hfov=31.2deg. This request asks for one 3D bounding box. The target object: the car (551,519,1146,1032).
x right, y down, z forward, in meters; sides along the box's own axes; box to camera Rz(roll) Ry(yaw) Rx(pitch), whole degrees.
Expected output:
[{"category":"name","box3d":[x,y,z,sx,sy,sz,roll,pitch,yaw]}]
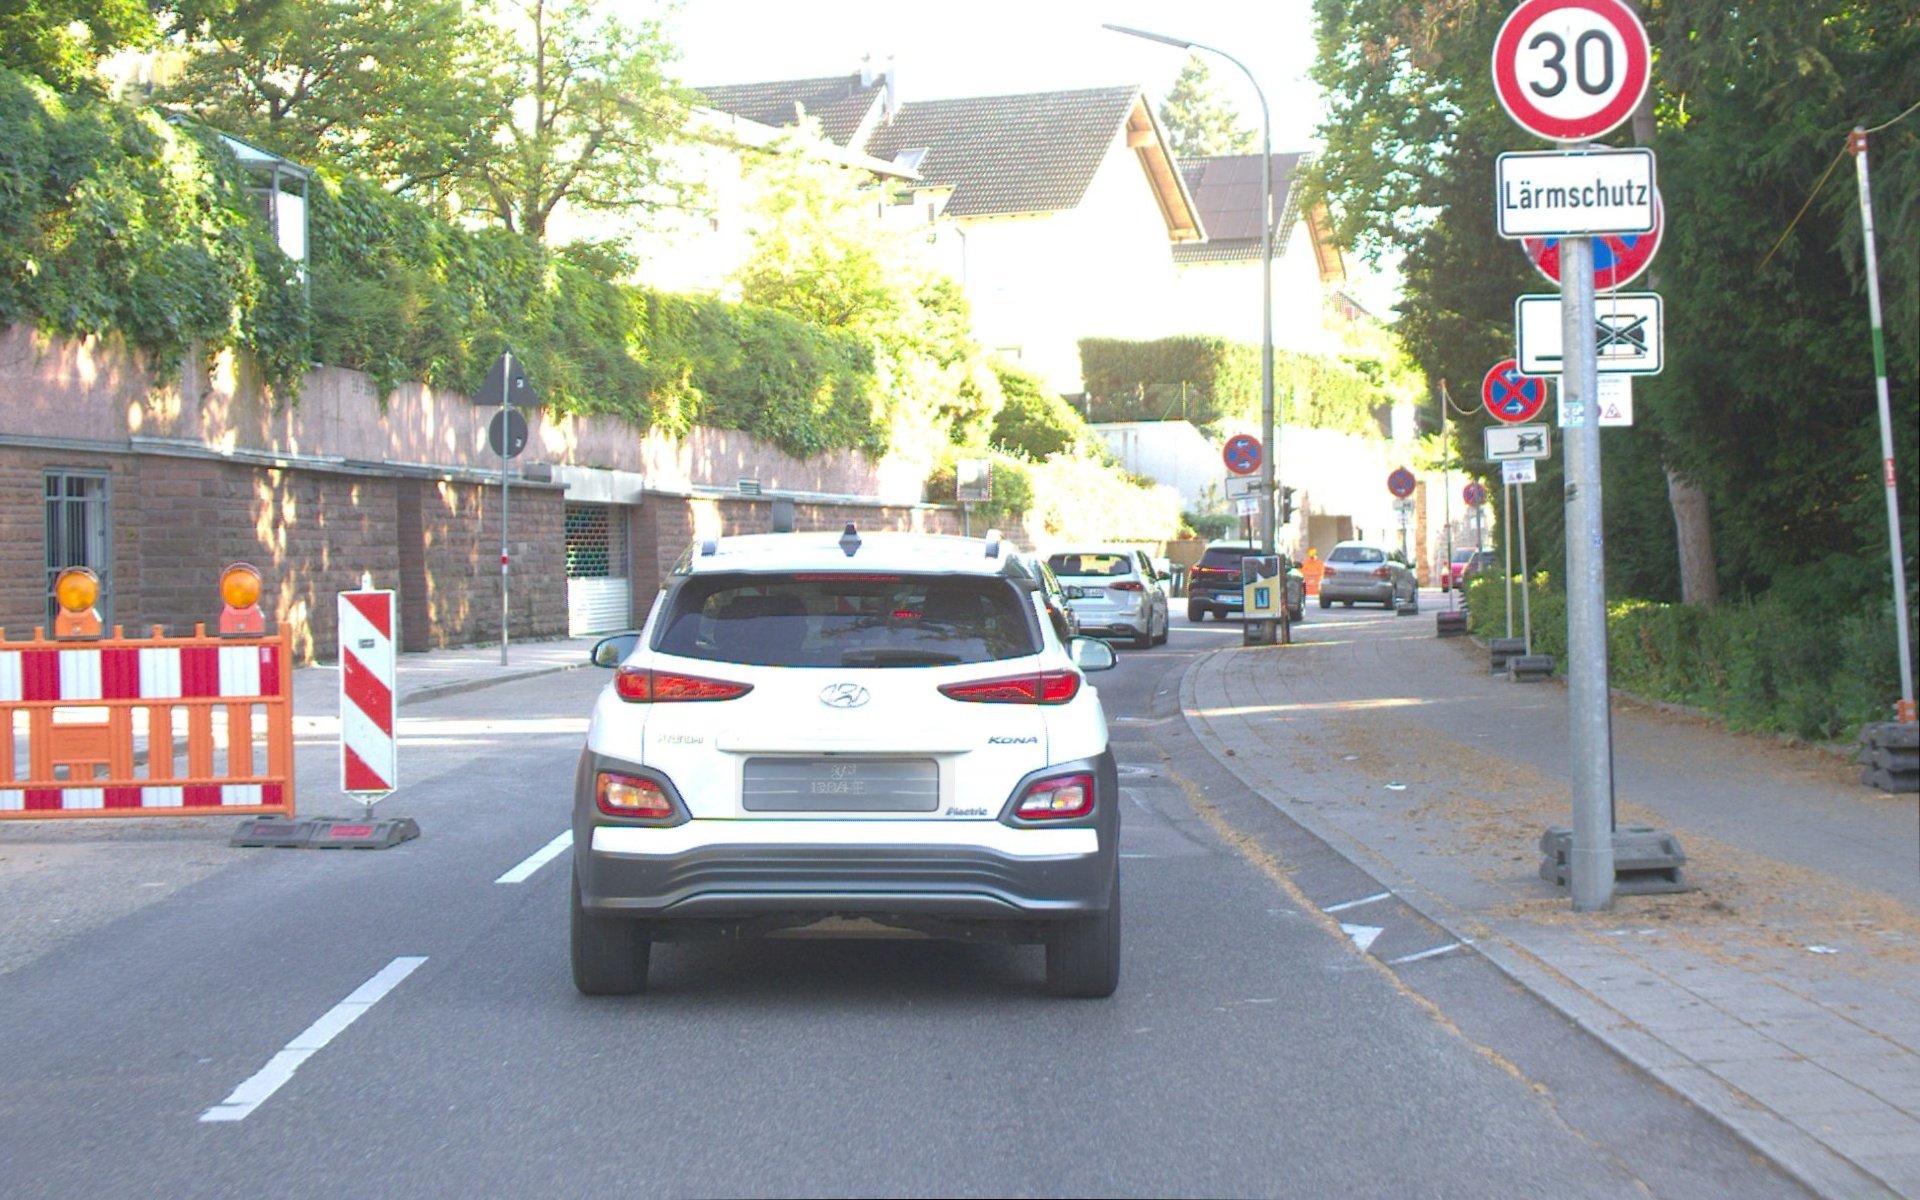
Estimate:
[{"category":"car","box3d":[-0.525,0.515,12.705,1.820,1.568,4.001,1,1,-5]}]

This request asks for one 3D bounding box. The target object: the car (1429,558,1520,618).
[{"category":"car","box3d":[14.805,-0.361,98.752,1.833,1.656,3.996,2,1,20]}]

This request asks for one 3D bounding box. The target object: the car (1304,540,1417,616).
[{"category":"car","box3d":[9.595,-0.535,82.176,1.833,1.735,3.996,-1,0,19]}]

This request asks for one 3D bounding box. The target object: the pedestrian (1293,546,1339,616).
[{"category":"pedestrian","box3d":[9.771,-0.519,94.359,1.080,1.905,0.840,1,1,16]}]

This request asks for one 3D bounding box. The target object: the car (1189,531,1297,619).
[{"category":"car","box3d":[5.657,-0.511,68.477,1.832,1.656,3.999,2,1,9]}]

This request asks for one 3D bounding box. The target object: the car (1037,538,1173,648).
[{"category":"car","box3d":[2.195,-0.133,51.172,1.806,1.532,3.999,2,1,5]}]

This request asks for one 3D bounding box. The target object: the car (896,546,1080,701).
[{"category":"car","box3d":[0.228,0.192,35.098,1.708,1.429,4.365,1,1,-1]}]
